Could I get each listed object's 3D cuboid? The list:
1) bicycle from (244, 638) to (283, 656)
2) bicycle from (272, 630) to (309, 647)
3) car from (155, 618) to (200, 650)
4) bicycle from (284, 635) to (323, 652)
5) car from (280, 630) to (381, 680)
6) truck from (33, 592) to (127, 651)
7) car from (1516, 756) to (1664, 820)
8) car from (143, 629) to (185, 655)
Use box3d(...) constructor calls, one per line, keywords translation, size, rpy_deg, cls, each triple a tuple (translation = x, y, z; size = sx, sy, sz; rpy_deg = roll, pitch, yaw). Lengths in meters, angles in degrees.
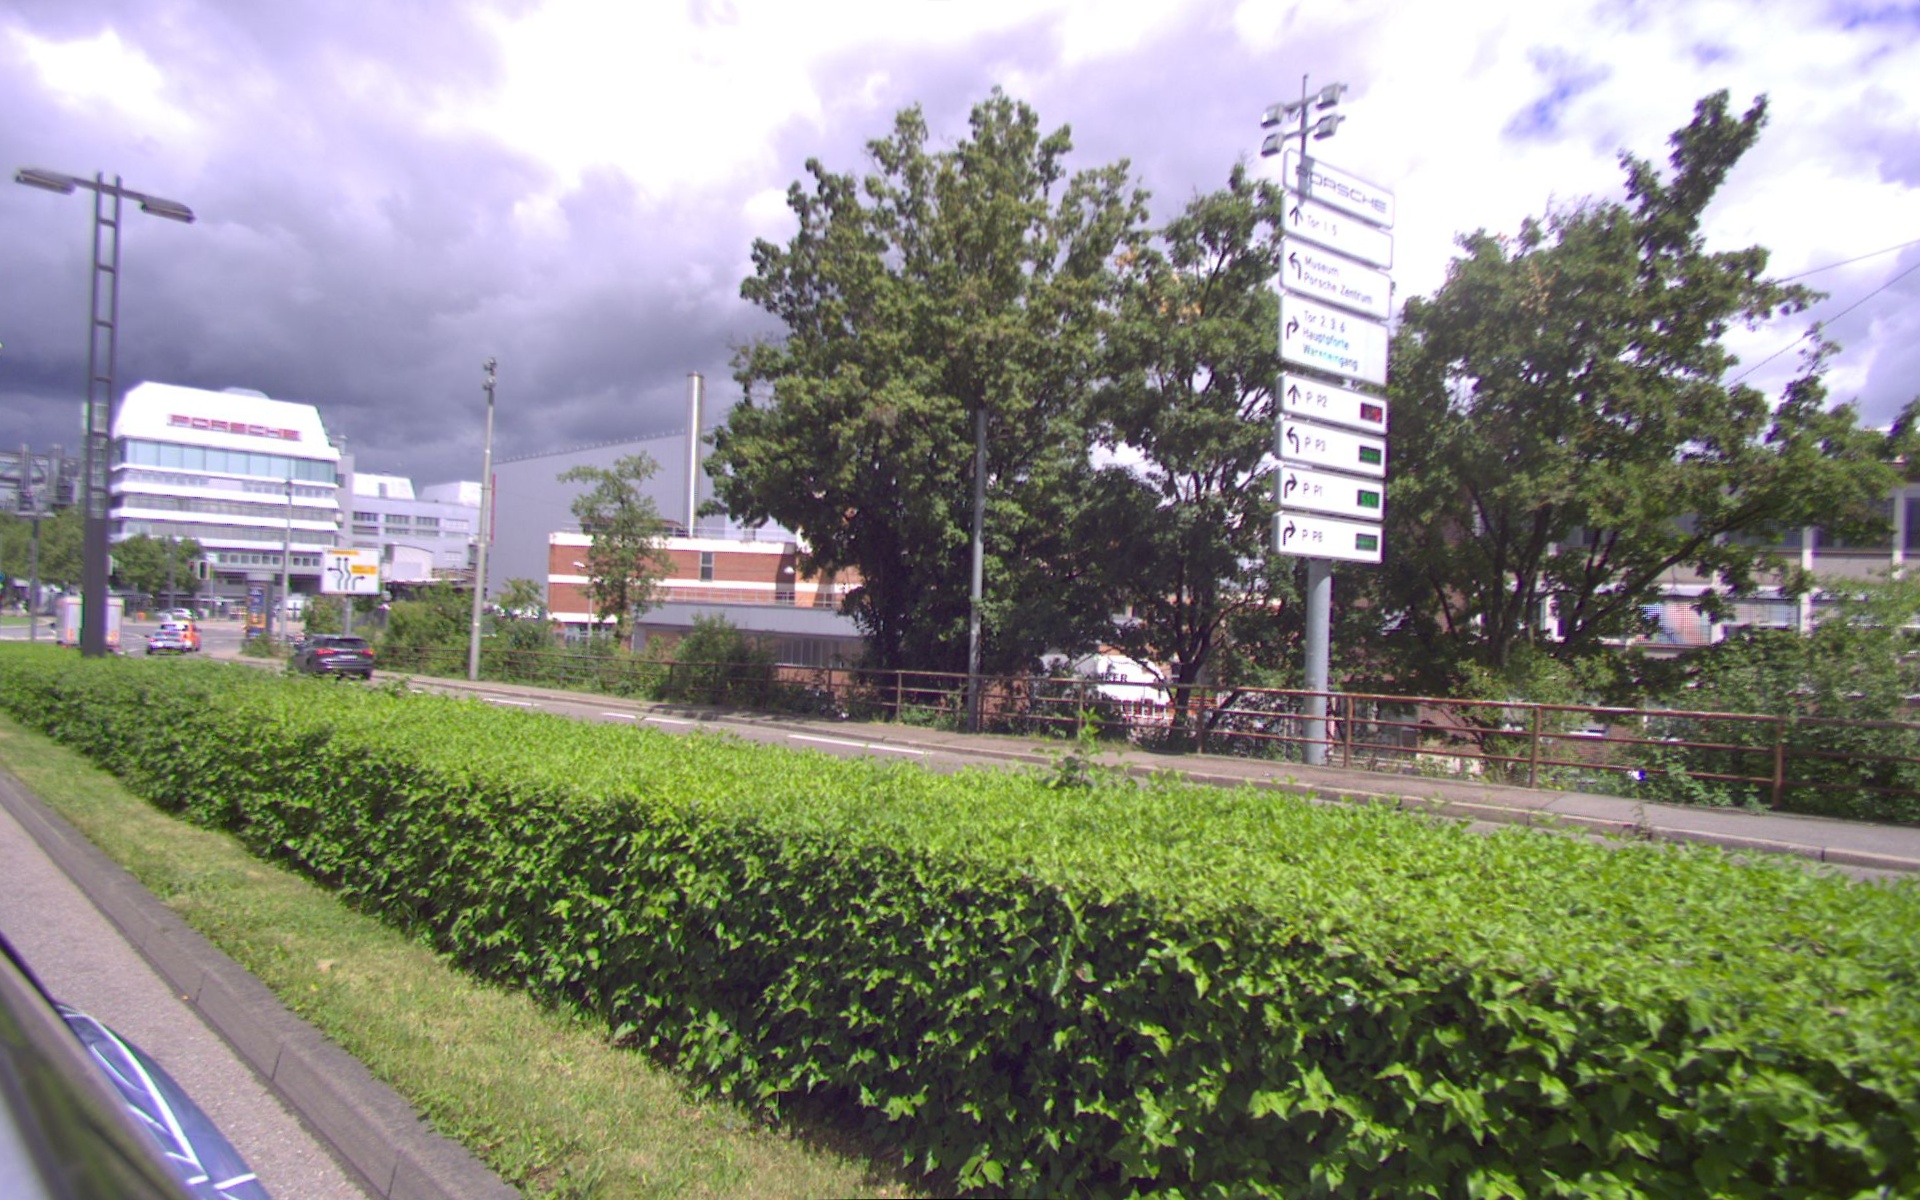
box3d(translation=(-45.767, 3.091, 66.507), size=(2.012, 1.176, 0.622), rpy_deg=(2, -2, -39), cls="bicycle")
box3d(translation=(-41.167, 2.379, 62.271), size=(0.616, 0.996, 1.938), rpy_deg=(-1, -2, 17), cls="bicycle")
box3d(translation=(-50.460, 2.165, 65.341), size=(1.966, 1.973, 4.640), rpy_deg=(1, -1, -34), cls="car")
box3d(translation=(-40.020, 2.664, 61.708), size=(0.619, 0.996, 1.928), rpy_deg=(-2, -3, 33), cls="bicycle")
box3d(translation=(-20.916, 1.780, 33.538), size=(1.818, 1.519, 4.563), rpy_deg=(3, -3, -45), cls="car")
box3d(translation=(-48.584, 1.281, 55.758), size=(9.375, 2.879, 2.824), rpy_deg=(-4, -4, 43), cls="truck")
box3d(translation=(19.662, 5.852, 31.782), size=(3.741, 1.539, 1.705), rpy_deg=(-1, -3, 26), cls="car")
box3d(translation=(-46.723, 2.448, 59.447), size=(1.772, 1.433, 4.502), rpy_deg=(3, -3, -37), cls="car")
